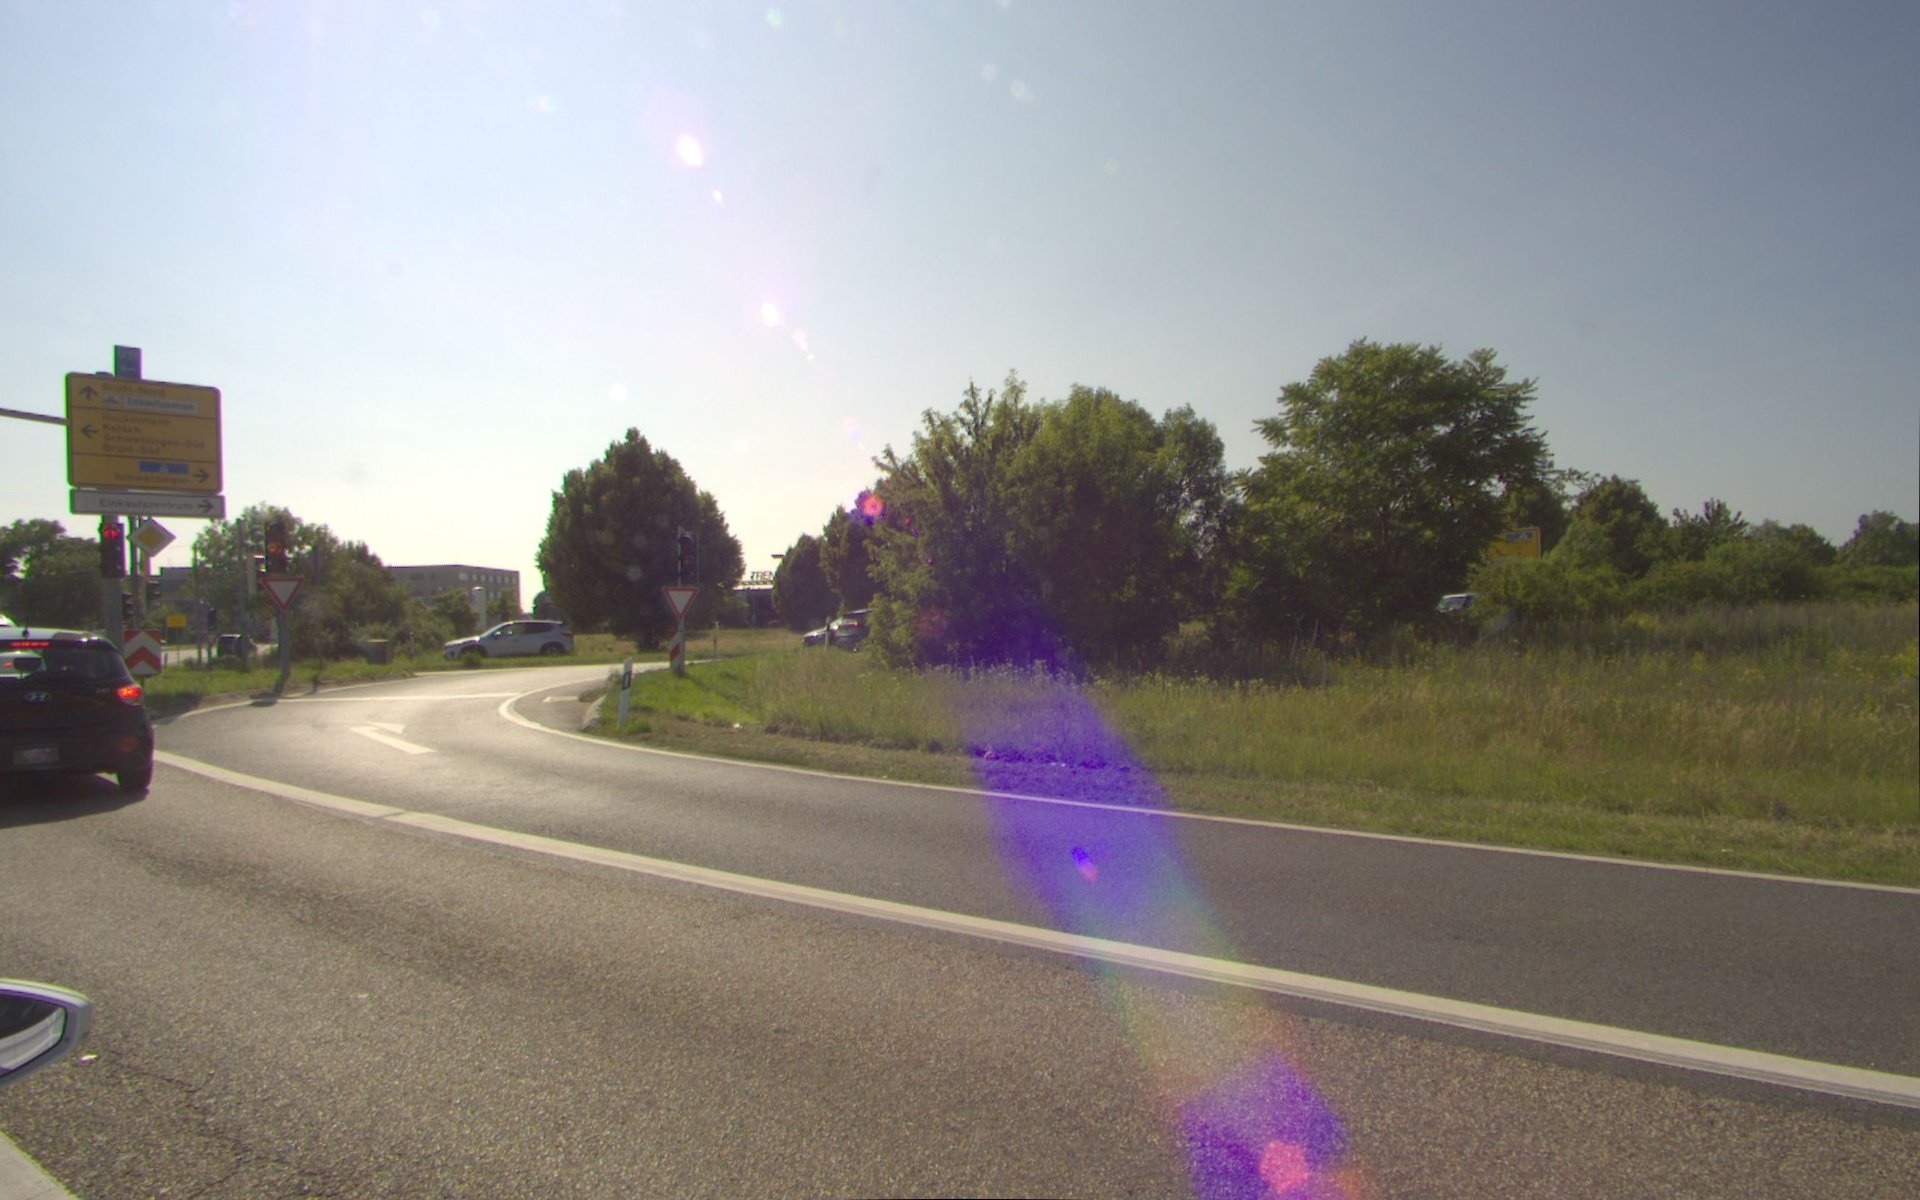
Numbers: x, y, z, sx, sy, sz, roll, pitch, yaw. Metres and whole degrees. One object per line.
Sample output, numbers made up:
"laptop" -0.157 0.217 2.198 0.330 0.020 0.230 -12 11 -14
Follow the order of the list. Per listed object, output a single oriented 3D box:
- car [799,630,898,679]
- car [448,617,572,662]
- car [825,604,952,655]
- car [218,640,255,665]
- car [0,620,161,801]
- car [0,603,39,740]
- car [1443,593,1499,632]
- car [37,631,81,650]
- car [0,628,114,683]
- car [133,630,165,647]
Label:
"car" -4.846 2.318 43.639 3.960 1.978 1.689 0 -1 -28
"car" -16.720 1.422 37.231 3.981 1.539 1.797 0 -1 -32
"car" -2.429 0.979 34.384 4.051 1.537 1.765 -2 0 -39
"car" -51.742 3.745 71.707 1.857 1.694 3.749 1 -3 -32
"car" -8.898 0.934 9.331 3.255 1.466 1.626 -1 -2 39
"car" -13.666 0.919 13.287 3.705 1.698 1.626 -2 -2 39
"car" 34.085 0.867 66.736 3.851 2.467 1.455 1 -2 -30
"car" -77.064 3.491 85.695 1.689 1.568 3.601 1 -2 -22
"car" -28.300 1.674 30.358 3.829 1.539 1.796 0 -1 -34
"car" -82.812 3.949 102.329 1.855 1.694 3.753 1 -2 -28
